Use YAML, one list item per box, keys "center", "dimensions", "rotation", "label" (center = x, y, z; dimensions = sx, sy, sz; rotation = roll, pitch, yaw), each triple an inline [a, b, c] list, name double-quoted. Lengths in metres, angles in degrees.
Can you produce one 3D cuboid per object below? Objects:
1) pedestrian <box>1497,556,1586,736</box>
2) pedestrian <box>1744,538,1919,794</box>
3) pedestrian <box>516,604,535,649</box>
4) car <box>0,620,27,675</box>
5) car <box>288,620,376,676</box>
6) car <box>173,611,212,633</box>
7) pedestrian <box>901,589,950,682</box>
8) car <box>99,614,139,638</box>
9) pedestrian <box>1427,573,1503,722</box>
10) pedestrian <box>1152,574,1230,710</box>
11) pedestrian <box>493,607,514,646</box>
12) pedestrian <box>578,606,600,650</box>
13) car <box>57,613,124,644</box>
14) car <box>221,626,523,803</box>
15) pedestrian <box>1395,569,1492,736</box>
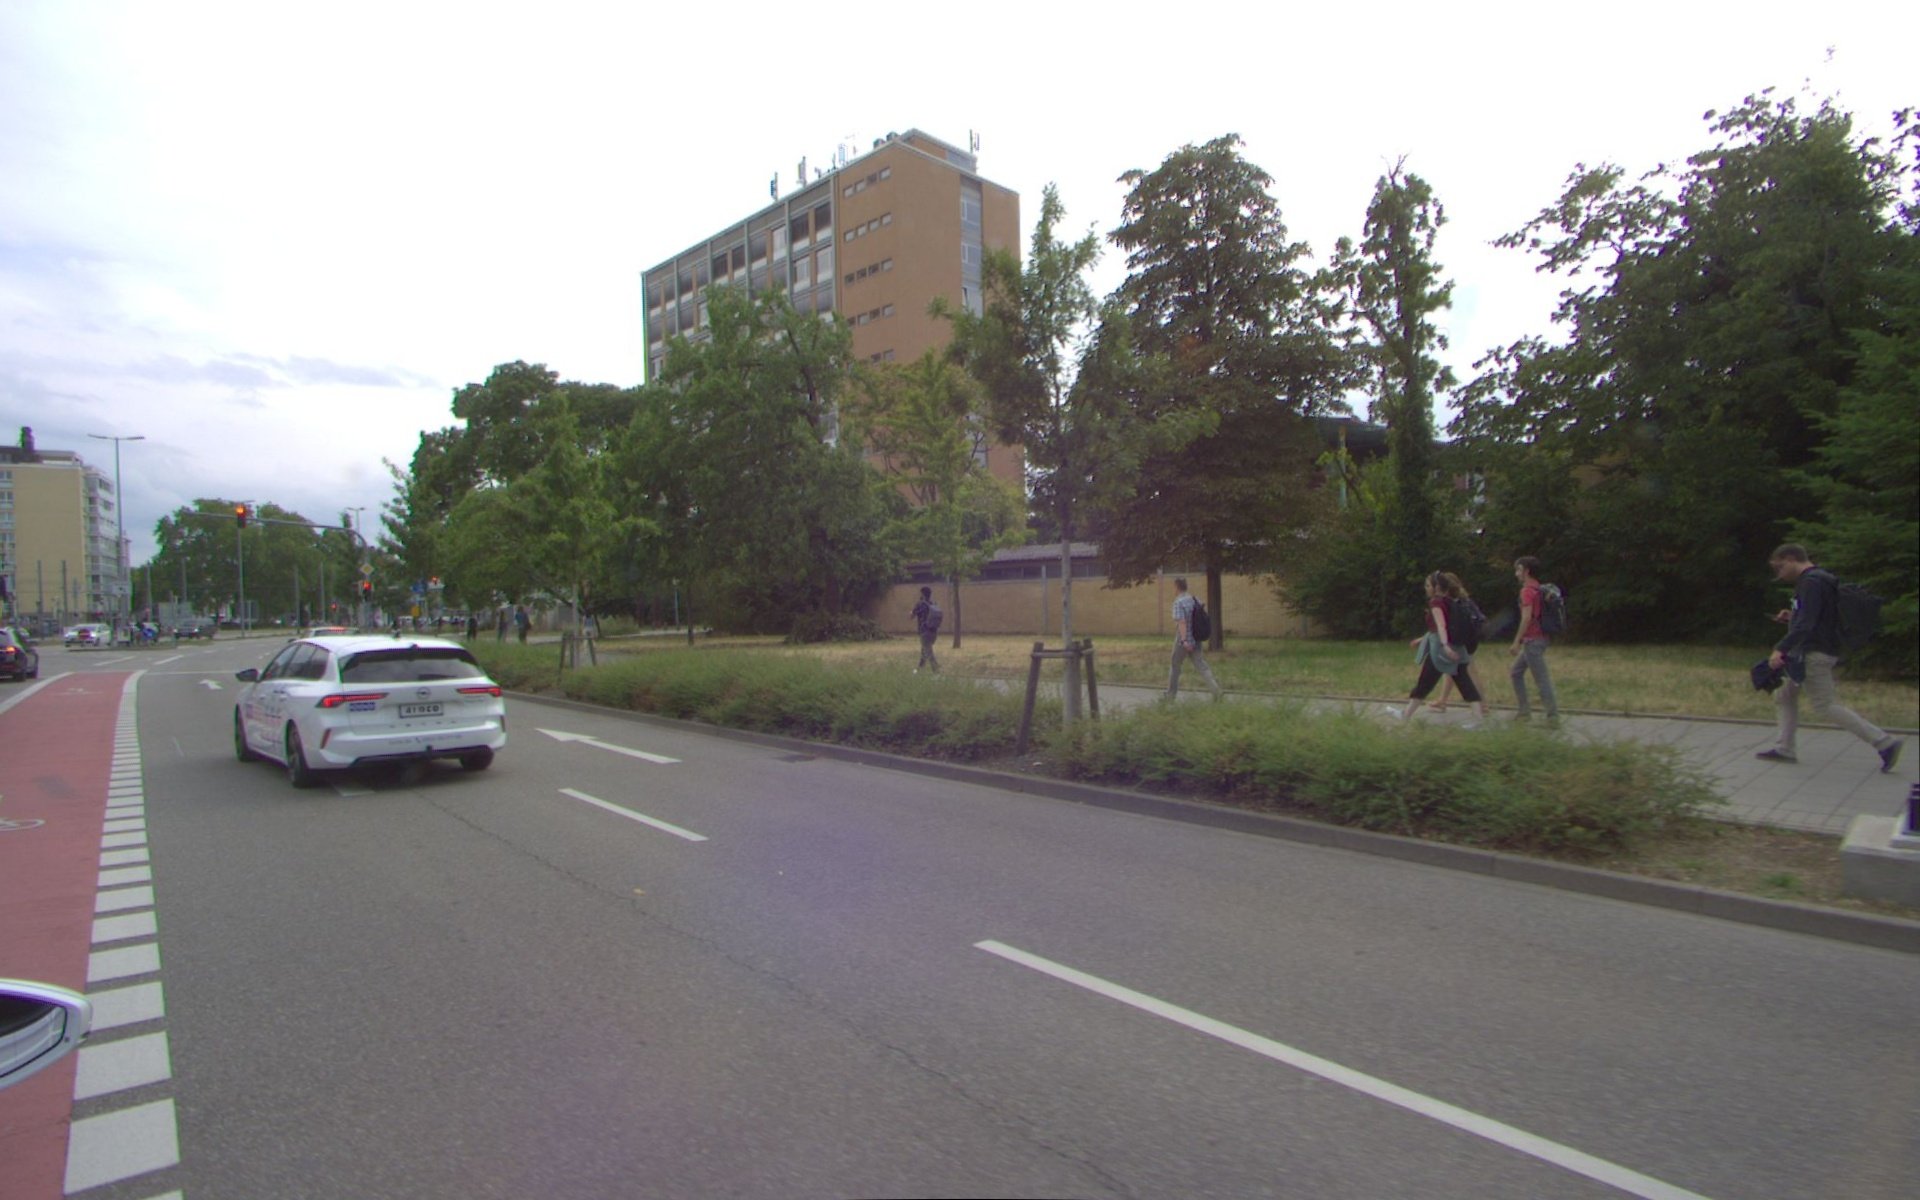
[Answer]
- center: [5.992, 0.459, 10.323]
  dimensions: [0.480, 1.787, 0.658]
  rotation: [-2, 1, -40]
  label: "pedestrian"
- center: [6.789, 0.479, 7.806]
  dimensions: [0.687, 1.845, 0.946]
  rotation: [-2, 1, -40]
  label: "pedestrian"
- center: [-17.254, 1.052, 39.725]
  dimensions: [0.638, 1.736, 0.559]
  rotation: [-1, 1, -25]
  label: "pedestrian"
- center: [-26.639, 1.288, 27.331]
  dimensions: [1.643, 1.415, 3.824]
  rotation: [-1, 0, -43]
  label: "car"
- center: [-18.173, 1.329, 28.920]
  dimensions: [1.710, 1.476, 3.706]
  rotation: [-1, 0, -39]
  label: "car"
- center: [-72.615, 2.046, 94.772]
  dimensions: [1.968, 2.040, 3.986]
  rotation: [-1, 0, -24]
  label: "car"
- center: [-0.652, 0.658, 19.002]
  dimensions: [0.582, 1.705, 0.742]
  rotation: [-2, 1, -40]
  label: "pedestrian"
- center: [-68.866, 2.076, 82.006]
  dimensions: [1.786, 1.875, 3.979]
  rotation: [-1, 0, -30]
  label: "car"
- center: [5.813, 0.529, 11.535]
  dimensions: [0.464, 1.655, 0.647]
  rotation: [-2, 1, -40]
  label: "pedestrian"
- center: [3.114, 0.546, 13.497]
  dimensions: [0.614, 1.758, 0.807]
  rotation: [-2, 1, -40]
  label: "pedestrian"
- center: [-21.062, 1.208, 46.176]
  dimensions: [0.792, 1.736, 0.761]
  rotation: [-1, 1, -27]
  label: "pedestrian"
- center: [-12.790, 0.952, 34.541]
  dimensions: [0.648, 1.490, 0.560]
  rotation: [-1, 1, -23]
  label: "pedestrian"
- center: [-63.960, 2.038, 73.792]
  dimensions: [2.554, 2.137, 5.573]
  rotation: [-1, 0, -29]
  label: "car"
- center: [-6.596, 1.047, 10.962]
  dimensions: [1.729, 1.458, 4.734]
  rotation: [-1, 0, -45]
  label: "car"
- center: [5.071, 0.527, 10.505]
  dimensions: [0.551, 1.677, 0.747]
  rotation: [-2, 1, -40]
  label: "pedestrian"
